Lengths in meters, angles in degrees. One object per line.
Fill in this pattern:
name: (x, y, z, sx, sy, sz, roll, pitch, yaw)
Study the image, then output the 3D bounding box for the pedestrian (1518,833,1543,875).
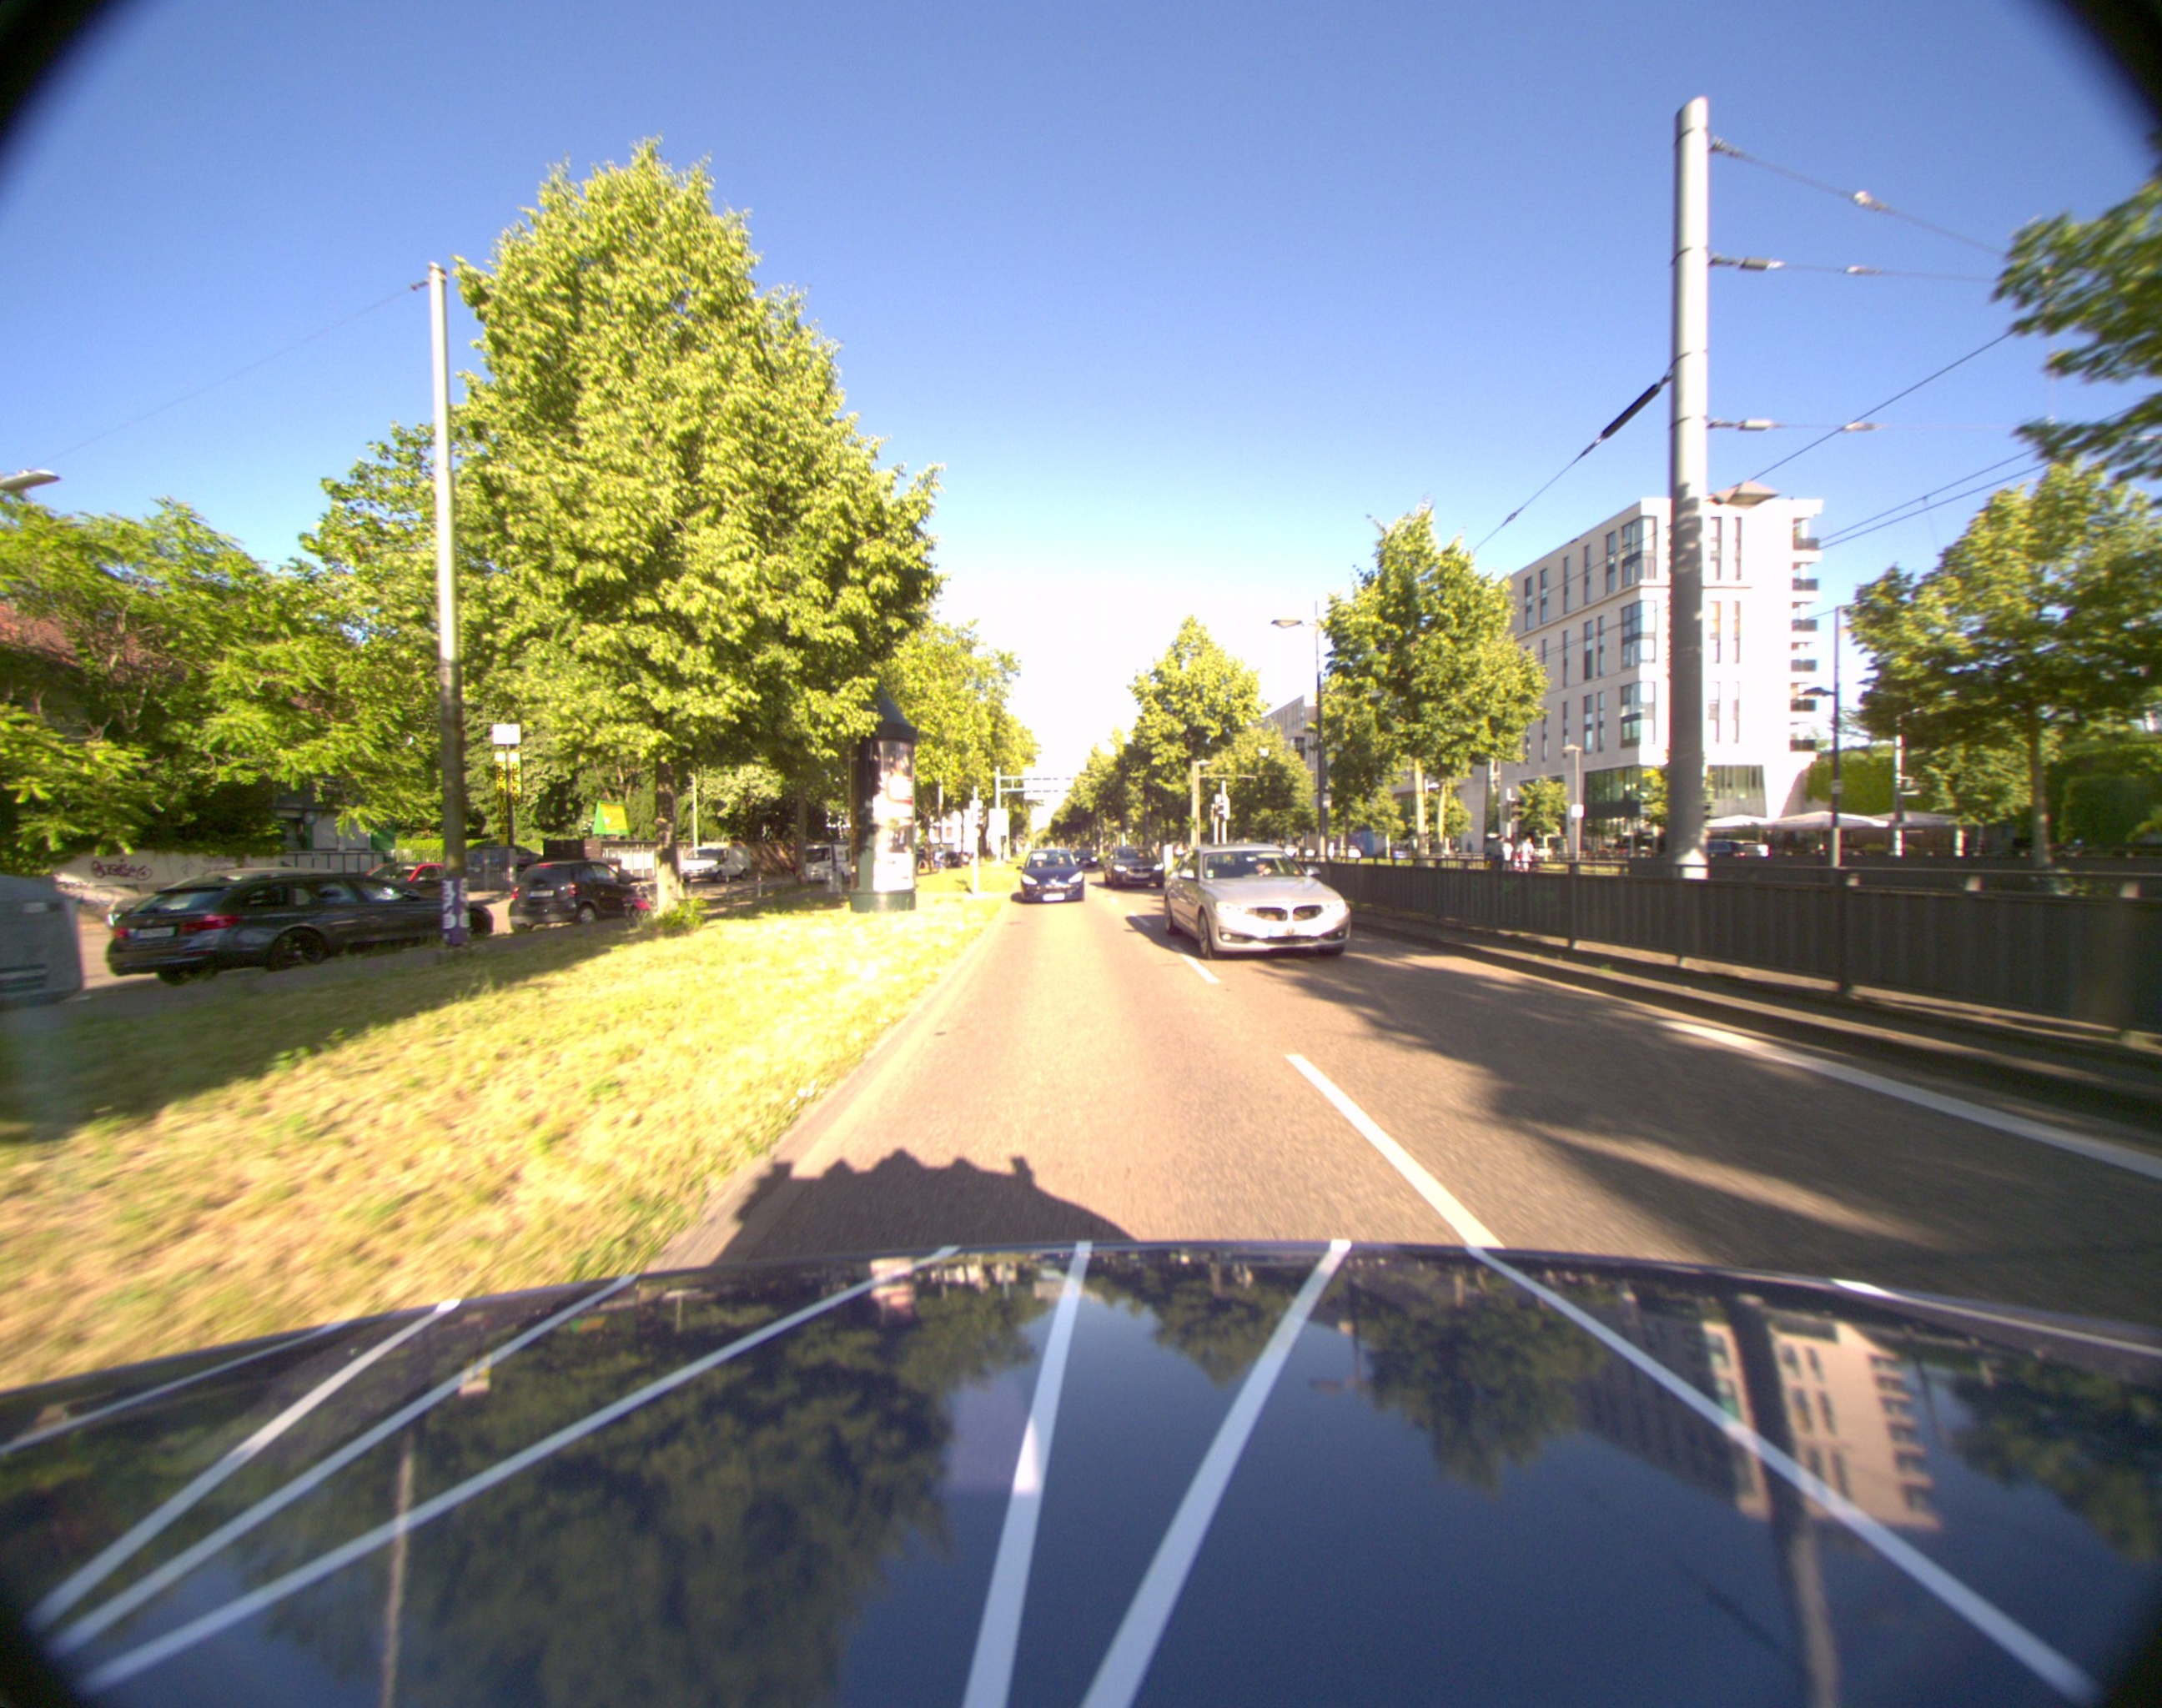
pedestrian: (16.331, -0.020, 27.601, 0.544, 1.488, 0.603, -2, 2, 1)

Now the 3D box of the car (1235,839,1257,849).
car: (25.738, -1.603, 118.634, 1.999, 1.433, 4.922, -3, 2, -5)

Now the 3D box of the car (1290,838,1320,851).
car: (26.891, -1.117, 91.352, 1.999, 1.433, 4.452, -3, 2, -5)

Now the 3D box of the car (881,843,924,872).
car: (-11.316, 0.153, 48.523, 1.741, 1.633, 4.350, -2, 2, -2)

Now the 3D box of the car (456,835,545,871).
car: (-34.613, -0.112, 45.442, 1.998, 2.002, 3.999, -2, 2, 2)

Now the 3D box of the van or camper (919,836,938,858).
van or camper: (-20.425, -0.977, 102.140, 2.000, 2.716, 4.960, 2, 1, -6)

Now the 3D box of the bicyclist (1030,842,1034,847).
bicyclist: (-15.231, -2.902, 234.797, 1.086, 1.315, 0.638, -1, 1, 0)

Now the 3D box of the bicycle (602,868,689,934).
bicycle: (-8.033, 0.829, 14.111, 0.494, 1.041, 1.903, -2, 2, -1)

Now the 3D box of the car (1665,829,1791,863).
car: (30.115, -0.392, 35.568, 1.884, 1.426, 4.609, -1, 1, -2)

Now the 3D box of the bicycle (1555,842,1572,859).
bicycle: (36.278, -0.286, 57.136, 0.588, 1.245, 1.842, -2, 2, 19)

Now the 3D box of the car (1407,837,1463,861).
car: (28.799, -0.453, 62.023, 1.999, 1.762, 4.773, -3, 2, -5)

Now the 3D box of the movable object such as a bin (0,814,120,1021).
movable object such as a bin: (-11.551, 0.663, 7.174, 2.086, 2.002, 2.135, -2, 2, 1)

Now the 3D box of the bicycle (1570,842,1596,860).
bicycle: (36.365, -0.255, 55.088, 0.589, 1.245, 1.839, -3, 2, -3)

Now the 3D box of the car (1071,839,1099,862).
car: (0.274, -0.307, 57.358, 1.783, 1.571, 3.781, -3, 2, -3)

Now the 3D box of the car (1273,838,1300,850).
car: (26.260, -1.274, 97.431, 1.999, 1.433, 4.453, -3, 2, -3)

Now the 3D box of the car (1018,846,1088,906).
car: (-0.787, 0.558, 21.929, 1.767, 1.463, 3.998, -2, 2, -2)

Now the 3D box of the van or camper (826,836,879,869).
van or camper: (-20.025, -0.146, 66.966, 2.562, 2.669, 6.564, 1, 1, 2)

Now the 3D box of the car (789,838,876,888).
car: (-11.384, 0.323, 35.375, 2.196, 2.002, 5.817, -2, 2, -2)

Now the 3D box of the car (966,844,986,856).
car: (-14.821, -0.600, 107.180, 2.002, 1.631, 3.993, -3, 2, -20)

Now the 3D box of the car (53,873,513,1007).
car: (-11.823, 1.143, 11.928, 2.004, 1.377, 4.744, -2, 2, 3)

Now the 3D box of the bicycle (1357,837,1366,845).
bicycle: (32.814, -1.528, 88.905, 0.380, 1.011, 1.799, -2, 2, -1)

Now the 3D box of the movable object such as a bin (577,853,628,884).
movable object such as a bin: (-23.891, 0.712, 37.954, 1.649, 1.461, 1.485, 1, 2, -4)

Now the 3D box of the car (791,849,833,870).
car: (-20.000, 0.386, 56.632, 1.694, 1.464, 3.757, 1, 1, 2)

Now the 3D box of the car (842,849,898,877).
car: (-11.449, 0.443, 41.548, 1.999, 1.282, 4.051, -2, 2, -2)

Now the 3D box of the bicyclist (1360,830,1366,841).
bicyclist: (32.803, -2.126, 88.324, 0.368, 1.296, 0.718, -2, 2, -1)

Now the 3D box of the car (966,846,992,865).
car: (-9.678, 0.155, 72.441, 1.797, 1.551, 4.019, -4, 2, 0)

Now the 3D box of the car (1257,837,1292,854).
car: (18.715, -0.862, 73.546, 1.999, 1.478, 3.997, -3, 2, -5)

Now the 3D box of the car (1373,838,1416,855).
car: (28.260, -0.680, 68.616, 1.963, 1.433, 4.263, -3, 2, -3)

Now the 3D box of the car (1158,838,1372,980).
car: (2.380, 0.600, 11.042, 1.887, 1.569, 4.275, -3, 2, -2)

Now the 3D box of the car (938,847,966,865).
car: (-11.183, 0.135, 66.109, 1.798, 1.430, 3.882, -2, 2, -1)

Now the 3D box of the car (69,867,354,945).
car: (-21.006, 1.169, 18.713, 1.998, 1.474, 4.323, 1, 2, 1)

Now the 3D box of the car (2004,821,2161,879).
car: (31.677, -0.164, 22.978, 1.884, 1.612, 4.608, -2, 2, -2)

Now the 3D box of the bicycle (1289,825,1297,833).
bicycle: (32.659, -3.853, 117.042, 0.600, 1.273, 1.607, -3, 2, -5)

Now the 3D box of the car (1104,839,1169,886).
car: (1.937, 0.249, 27.627, 1.951, 1.514, 3.998, -1, 2, -1)

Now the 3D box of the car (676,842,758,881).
car: (-20.562, 0.356, 43.180, 2.092, 2.002, 4.942, -1, 1, 2)

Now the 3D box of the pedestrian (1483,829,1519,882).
pedestrian: (14.783, 0.042, 26.775, 0.823, 1.826, 0.726, -3, 2, -5)

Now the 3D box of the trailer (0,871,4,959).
trailer: (-21.068, 1.164, 12.708, 1.734, 1.631, 3.022, 1, 2, 1)

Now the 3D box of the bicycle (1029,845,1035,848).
bicycle: (-15.202, -2.446, 234.802, 1.928, 0.899, 0.647, -1, 1, 0)

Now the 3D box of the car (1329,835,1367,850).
car: (28.002, -1.203, 79.790, 1.999, 1.433, 4.452, -3, 2, -5)

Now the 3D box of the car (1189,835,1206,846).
car: (17.411, -2.033, 113.686, 1.999, 1.562, 4.165, -1, 1, 0)

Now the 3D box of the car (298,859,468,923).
car: (-20.826, 1.057, 22.877, 1.999, 1.598, 3.477, 3, 1, -3)

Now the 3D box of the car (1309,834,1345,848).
car: (27.470, -1.433, 85.028, 1.999, 1.433, 4.933, -3, 2, -5)

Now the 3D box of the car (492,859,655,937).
car: (-11.520, 0.939, 17.492, 1.666, 1.492, 2.988, -2, 2, 0)

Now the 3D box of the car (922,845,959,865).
car: (-11.059, 0.070, 60.183, 1.998, 1.374, 4.676, -3, 1, 0)

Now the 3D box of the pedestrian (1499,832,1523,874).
pedestrian: (16.021, -0.039, 28.300, 0.551, 1.510, 0.588, -2, 2, 2)
